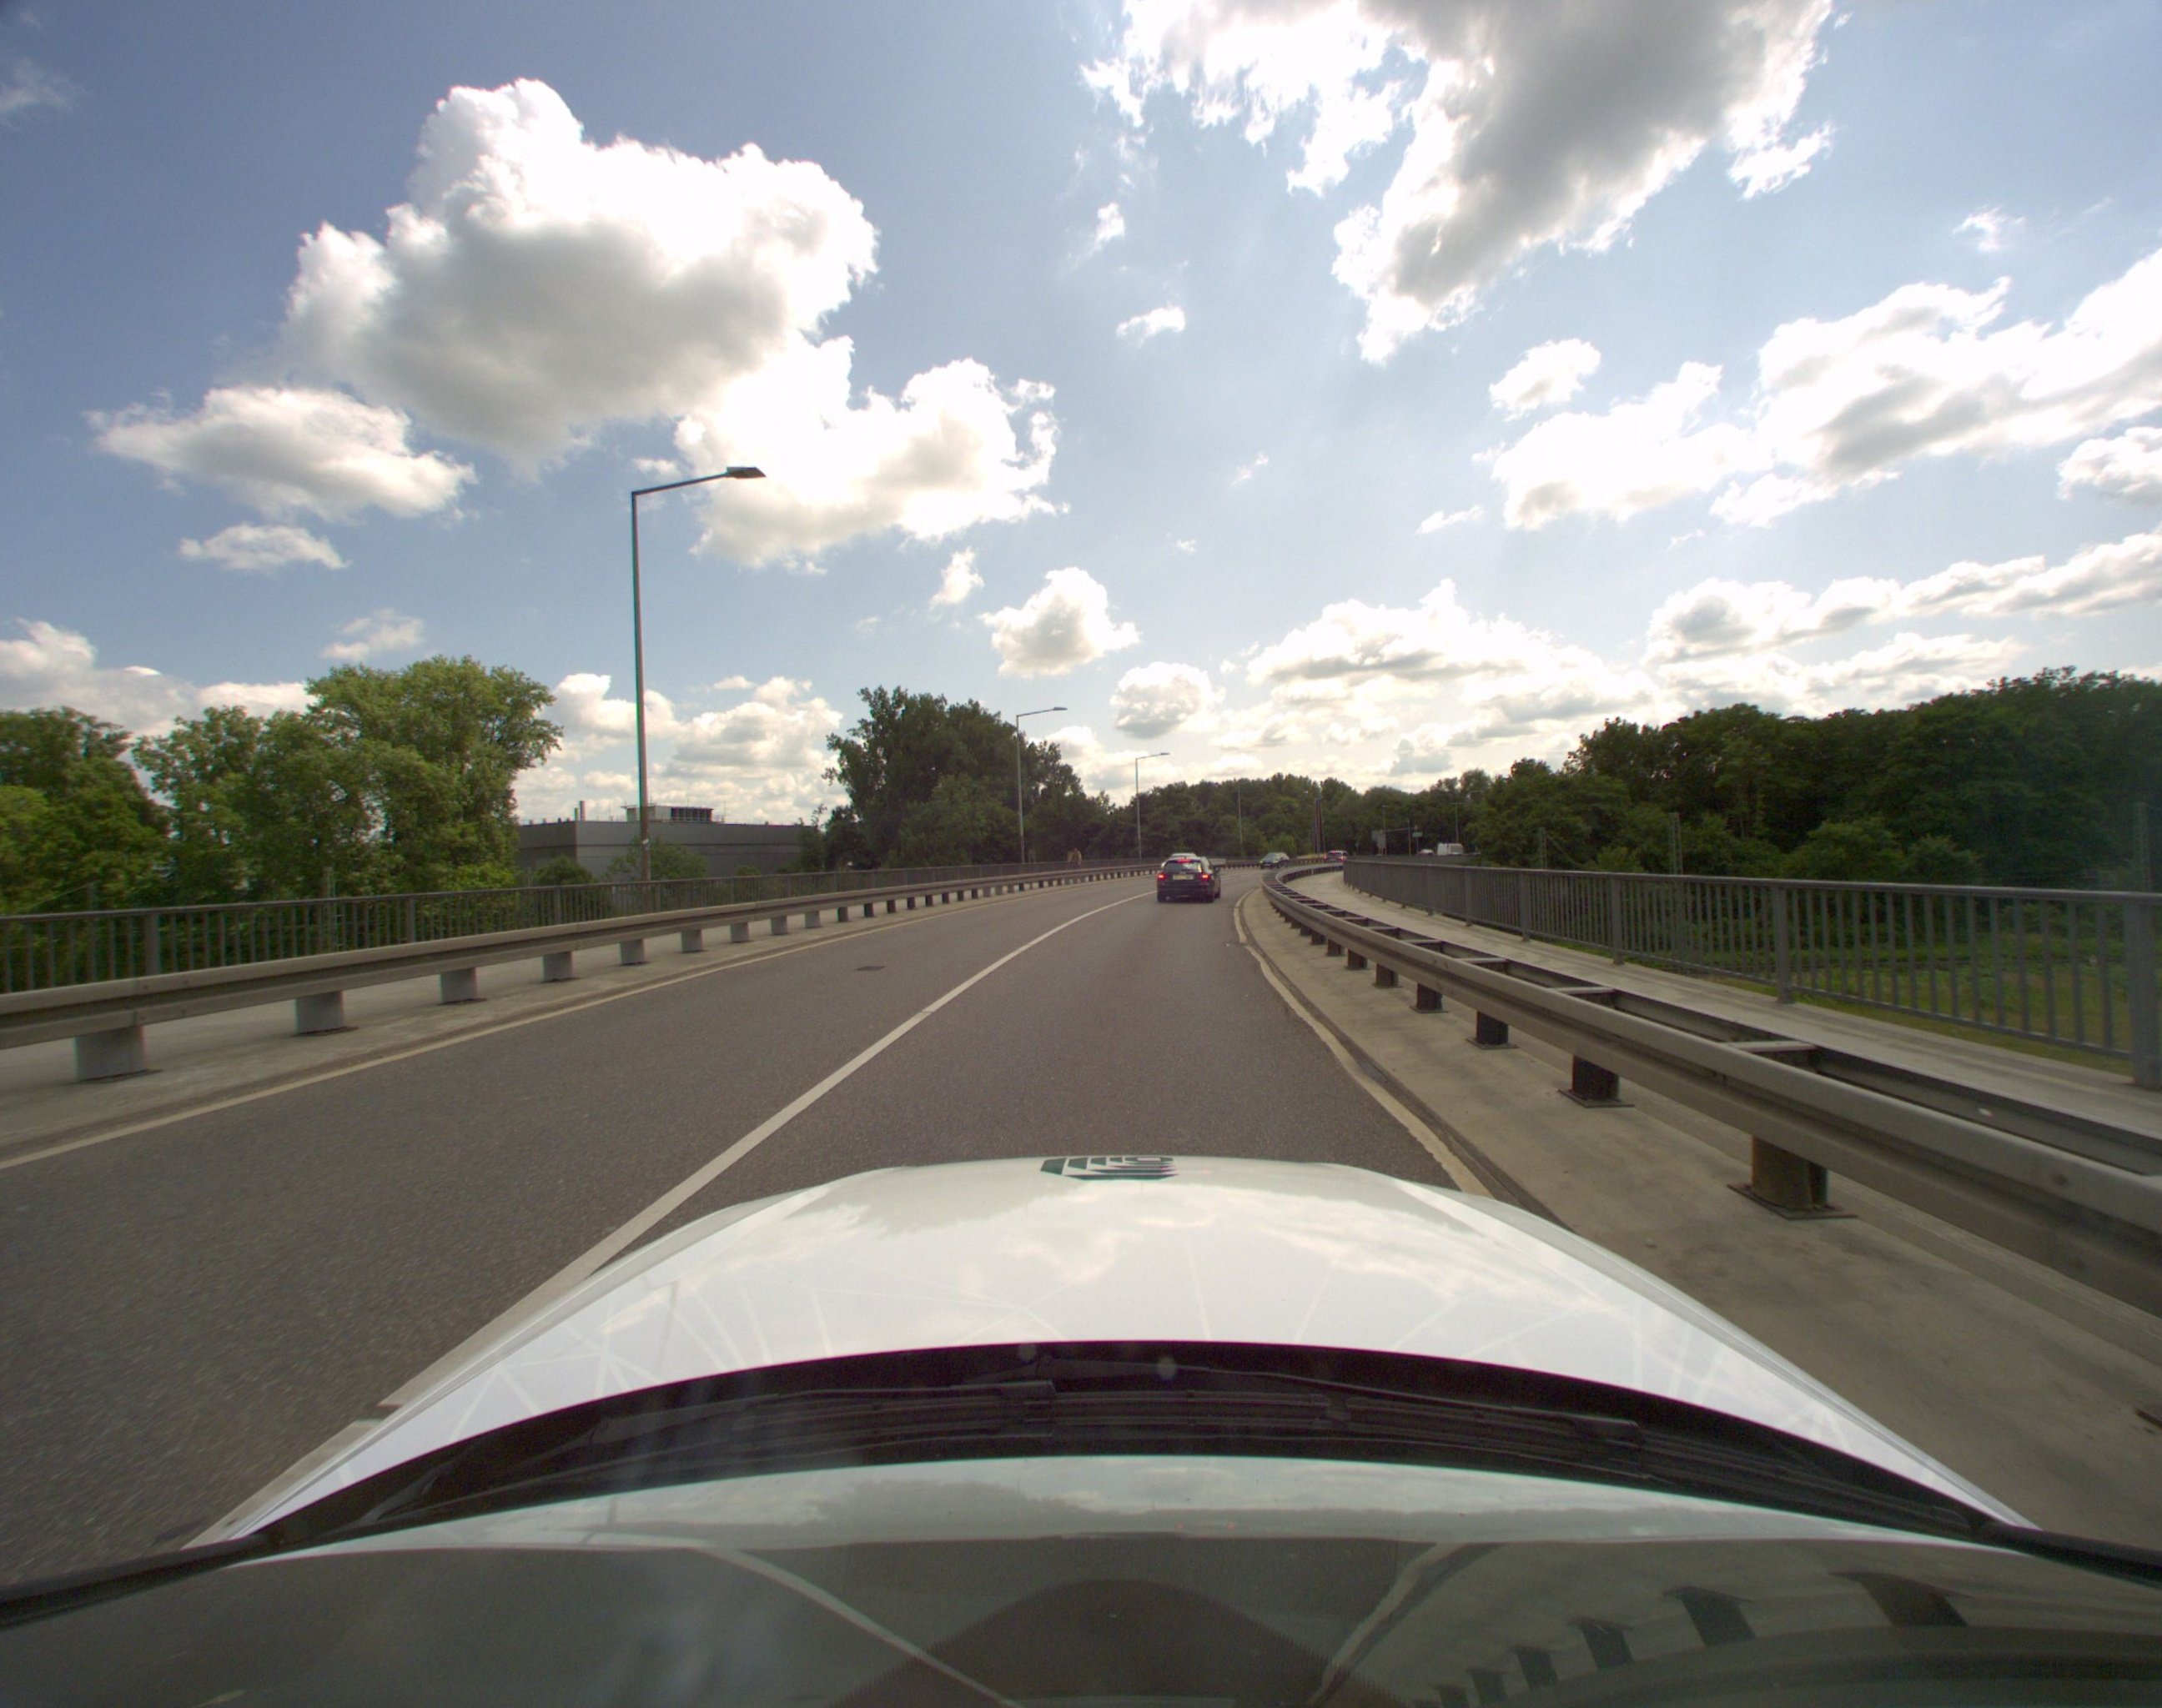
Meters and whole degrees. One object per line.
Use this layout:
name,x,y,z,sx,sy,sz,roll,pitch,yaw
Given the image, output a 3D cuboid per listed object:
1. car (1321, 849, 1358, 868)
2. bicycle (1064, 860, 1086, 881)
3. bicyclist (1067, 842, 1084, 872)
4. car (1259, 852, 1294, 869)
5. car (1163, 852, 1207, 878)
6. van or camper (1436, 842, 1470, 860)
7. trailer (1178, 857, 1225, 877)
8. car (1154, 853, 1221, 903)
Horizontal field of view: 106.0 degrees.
car,22.841,0.380,71.801,1.804,1.651,3.880,1,1,39
bicycle,-0.320,0.880,44.971,0.763,1.095,2.122,-1,0,12
bicyclist,-0.298,0.161,45.140,0.762,1.602,0.950,-1,-1,12
car,17.897,0.526,74.509,1.800,1.451,4.767,0,1,31
car,6.506,0.659,50.523,1.791,1.535,4.370,0,0,19
van or camper,50.069,-0.430,109.561,5.268,2.340,2.253,0,1,-41
trailer,8.279,0.872,55.414,2.028,1.209,6.012,0,0,20
car,3.595,0.720,26.818,1.815,1.491,4.221,1,0,12
